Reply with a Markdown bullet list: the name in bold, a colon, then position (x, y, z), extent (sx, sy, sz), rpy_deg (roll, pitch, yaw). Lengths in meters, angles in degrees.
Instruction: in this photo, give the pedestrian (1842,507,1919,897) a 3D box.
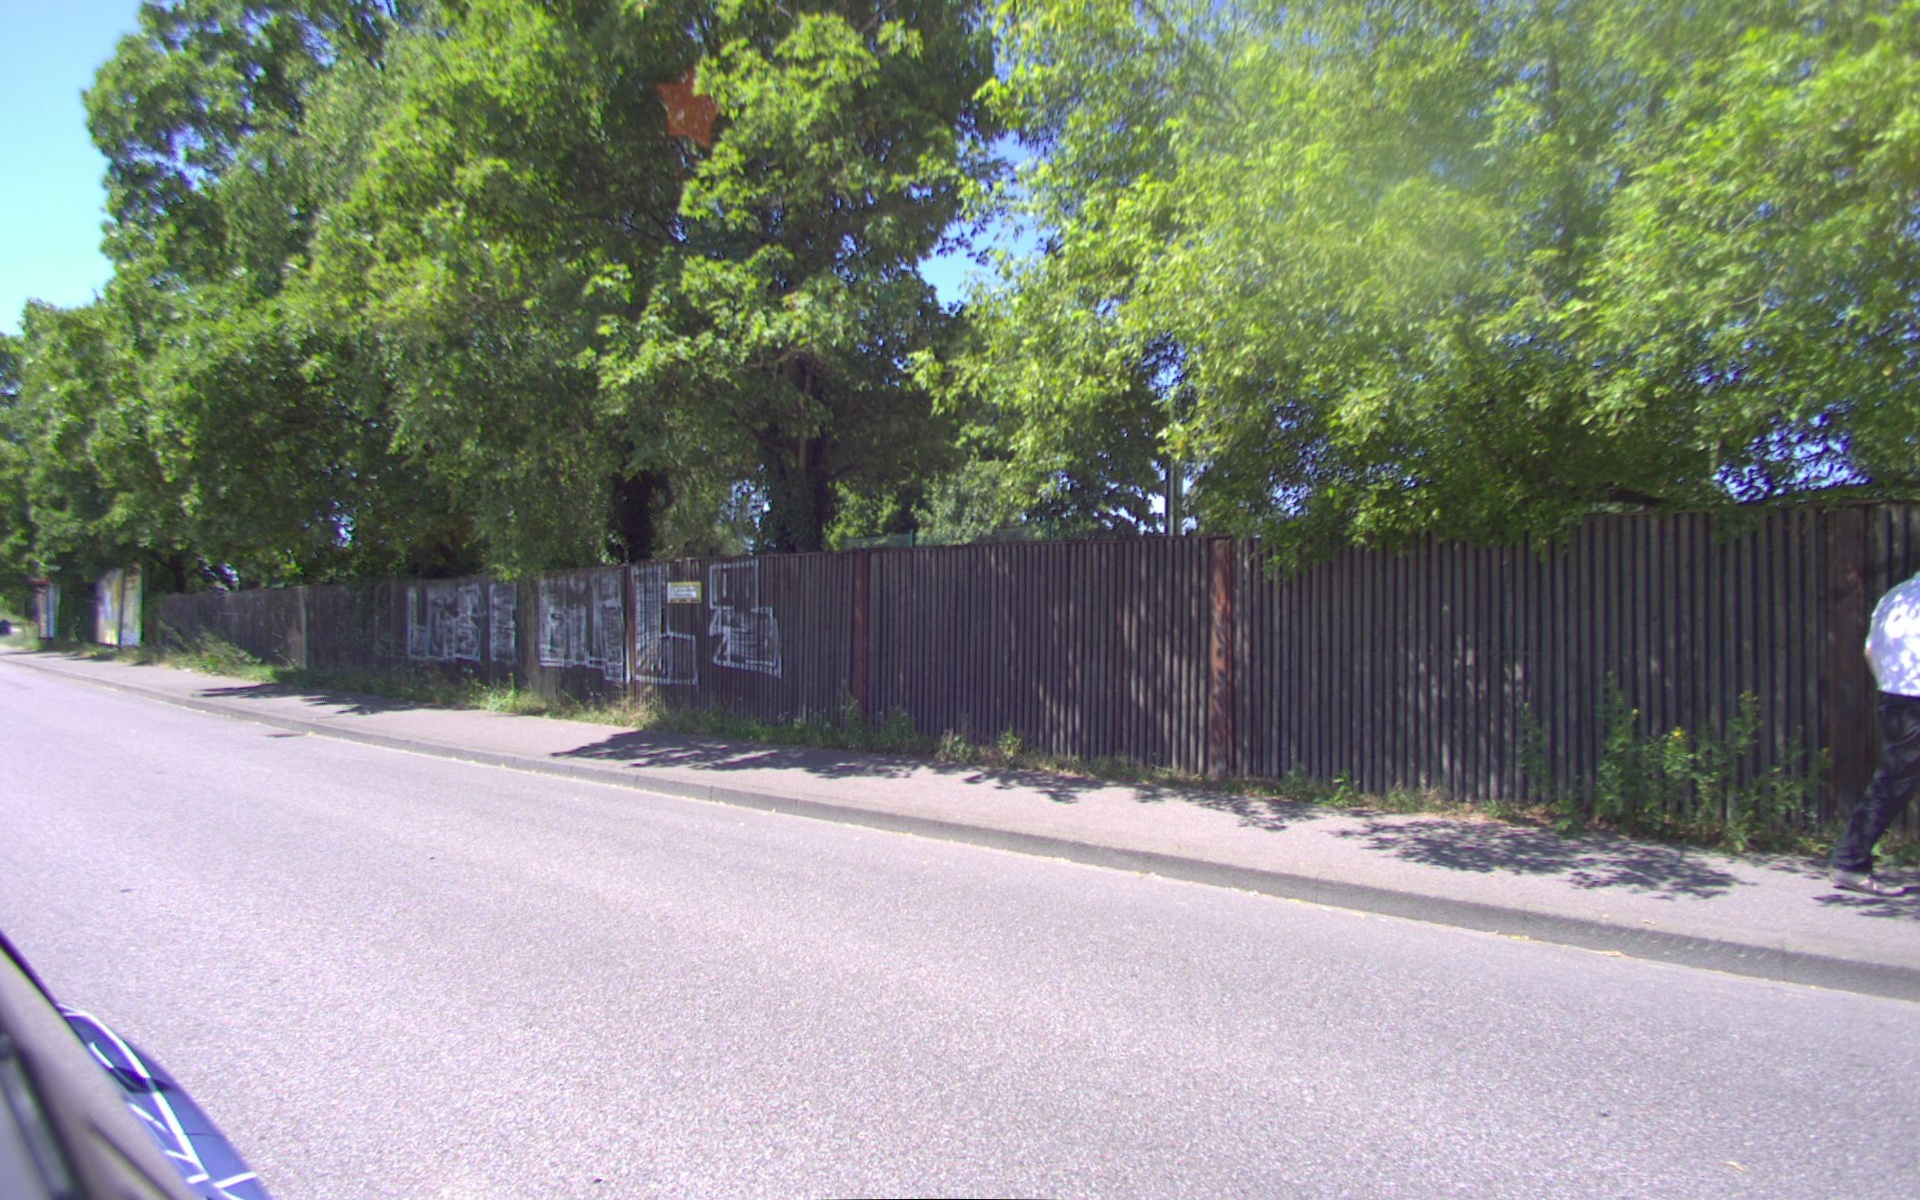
- **pedestrian**: position (4.843, 0.479, 4.888), extent (0.850, 1.838, 0.586), rpy_deg (-1, 0, 41)
